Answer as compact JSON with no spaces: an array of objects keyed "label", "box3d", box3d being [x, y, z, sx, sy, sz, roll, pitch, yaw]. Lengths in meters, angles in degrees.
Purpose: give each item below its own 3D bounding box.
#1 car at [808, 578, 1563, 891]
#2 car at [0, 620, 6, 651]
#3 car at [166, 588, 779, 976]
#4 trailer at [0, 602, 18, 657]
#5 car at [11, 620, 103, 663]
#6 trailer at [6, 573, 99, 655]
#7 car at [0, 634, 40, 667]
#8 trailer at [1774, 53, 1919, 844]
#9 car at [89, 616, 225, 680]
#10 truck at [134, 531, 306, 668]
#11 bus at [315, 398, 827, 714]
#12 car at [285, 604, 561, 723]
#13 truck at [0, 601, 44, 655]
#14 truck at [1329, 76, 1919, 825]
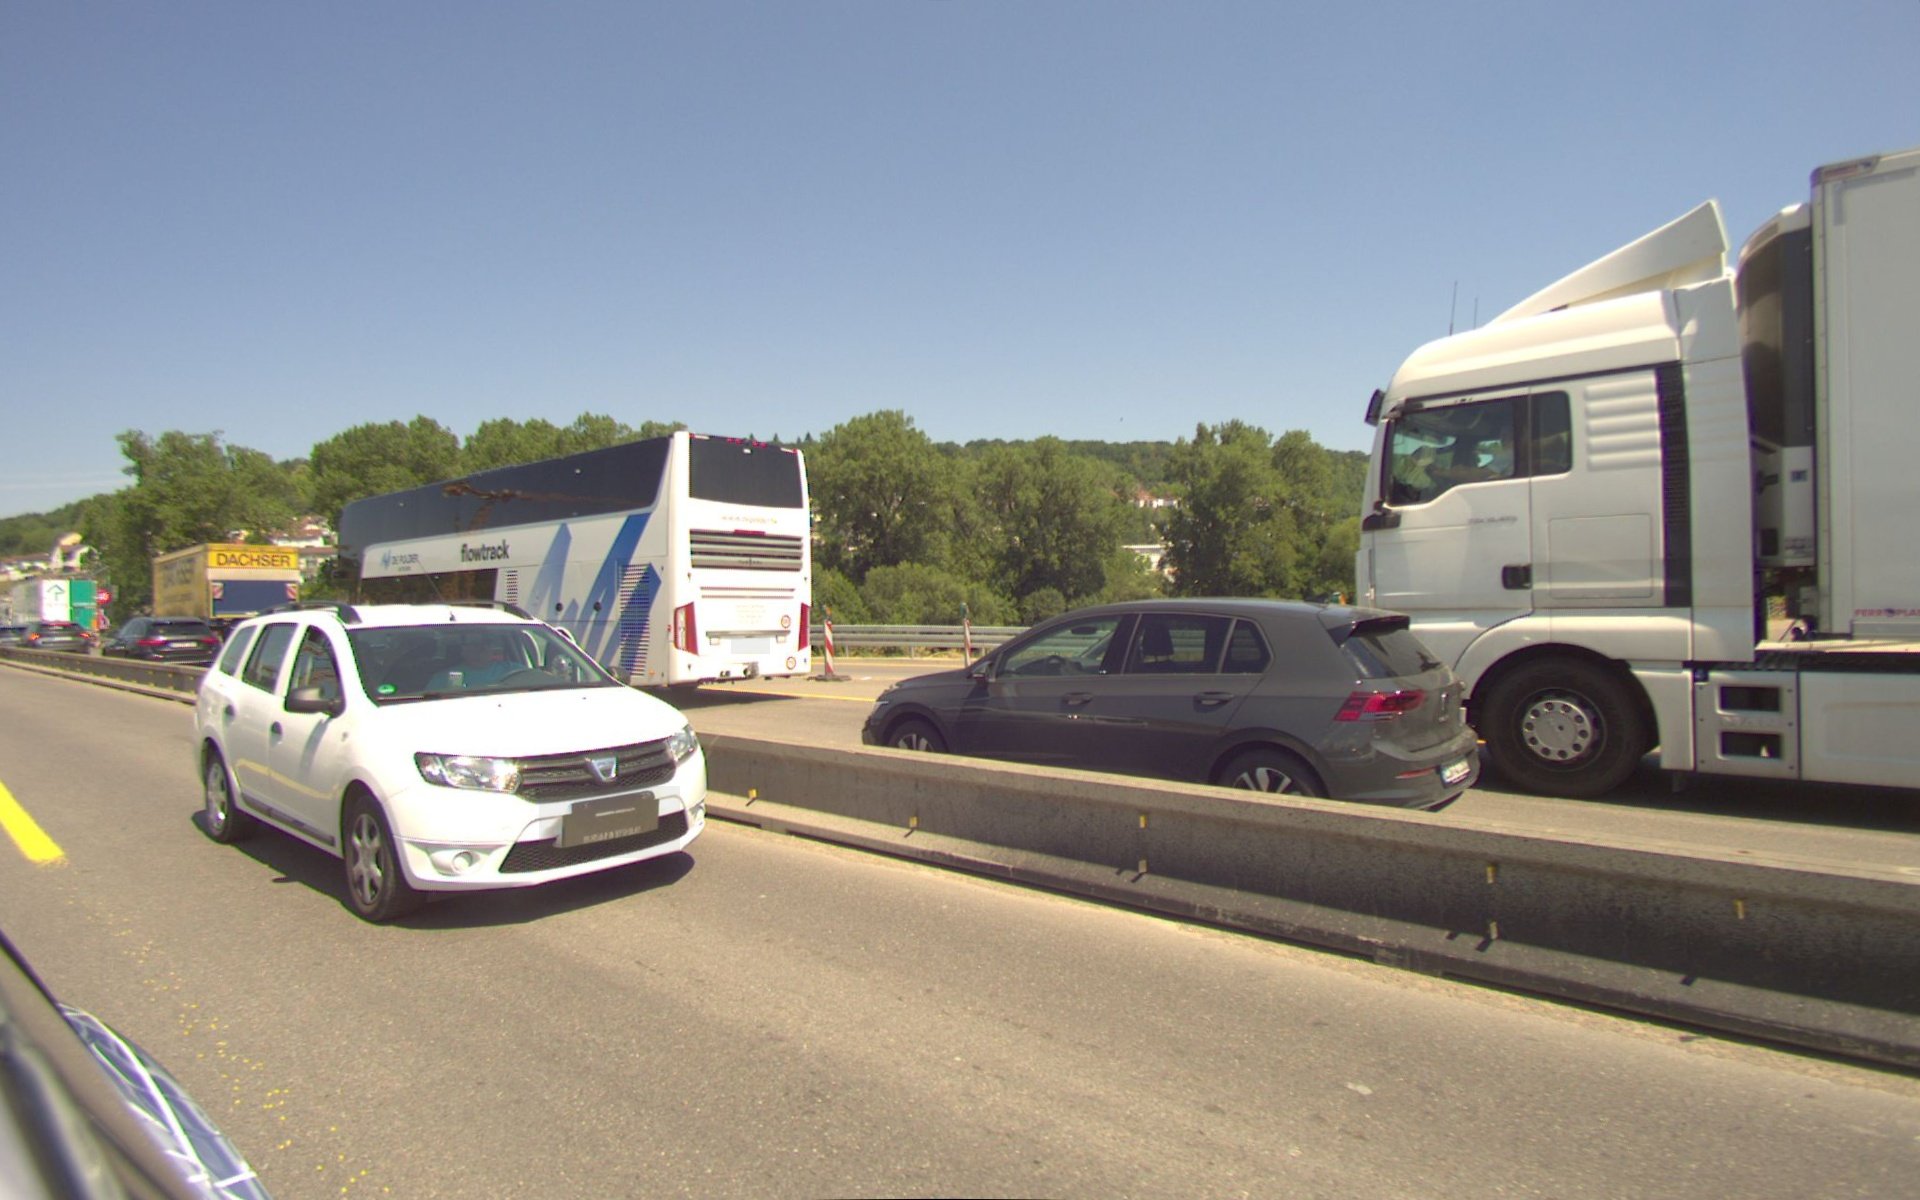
[{"label":"car","box3d":[1.219,0.653,6.848,4.679,1.434,1.814,-2,-1,40]},{"label":"car","box3d":[-56.191,2.040,57.562,5.779,1.739,2.347,-2,-1,42]},{"label":"car","box3d":[-3.311,0.758,6.295,4.705,1.542,1.799,-1,0,42]},{"label":"trailer","box3d":[-85.364,2.748,88.664,13.014,4.499,3.069,-4,-3,42]},{"label":"car","box3d":[-33.610,1.536,37.633,4.900,1.505,1.840,-2,-3,40]},{"label":"trailer","box3d":[-54.503,0.958,60.610,13.164,4.464,2.785,-2,-2,42]},{"label":"car","box3d":[-44.687,2.344,47.355,5.122,1.443,1.863,-1,0,41]},{"label":"trailer","box3d":[11.253,-1.051,2.618,14.069,4.417,3.108,-2,-1,41]},{"label":"car","box3d":[-20.304,1.156,25.517,4.927,1.454,1.819,-1,-1,41]},{"label":"truck","box3d":[-26.058,0.056,35.371,10.075,4.184,2.773,-1,-1,42]},{"label":"bus","box3d":[-8.446,-0.471,19.535,14.467,4.296,2.711,-1,-1,41]},{"label":"car","box3d":[-8.148,0.887,15.106,5.087,1.434,1.898,-3,0,41]},{"label":"truck","box3d":[-71.866,2.224,76.376,8.360,3.793,2.875,-4,-1,40]},{"label":"truck","box3d":[6.471,-0.865,6.850,6.699,4.230,3.065,-3,-1,41]}]
